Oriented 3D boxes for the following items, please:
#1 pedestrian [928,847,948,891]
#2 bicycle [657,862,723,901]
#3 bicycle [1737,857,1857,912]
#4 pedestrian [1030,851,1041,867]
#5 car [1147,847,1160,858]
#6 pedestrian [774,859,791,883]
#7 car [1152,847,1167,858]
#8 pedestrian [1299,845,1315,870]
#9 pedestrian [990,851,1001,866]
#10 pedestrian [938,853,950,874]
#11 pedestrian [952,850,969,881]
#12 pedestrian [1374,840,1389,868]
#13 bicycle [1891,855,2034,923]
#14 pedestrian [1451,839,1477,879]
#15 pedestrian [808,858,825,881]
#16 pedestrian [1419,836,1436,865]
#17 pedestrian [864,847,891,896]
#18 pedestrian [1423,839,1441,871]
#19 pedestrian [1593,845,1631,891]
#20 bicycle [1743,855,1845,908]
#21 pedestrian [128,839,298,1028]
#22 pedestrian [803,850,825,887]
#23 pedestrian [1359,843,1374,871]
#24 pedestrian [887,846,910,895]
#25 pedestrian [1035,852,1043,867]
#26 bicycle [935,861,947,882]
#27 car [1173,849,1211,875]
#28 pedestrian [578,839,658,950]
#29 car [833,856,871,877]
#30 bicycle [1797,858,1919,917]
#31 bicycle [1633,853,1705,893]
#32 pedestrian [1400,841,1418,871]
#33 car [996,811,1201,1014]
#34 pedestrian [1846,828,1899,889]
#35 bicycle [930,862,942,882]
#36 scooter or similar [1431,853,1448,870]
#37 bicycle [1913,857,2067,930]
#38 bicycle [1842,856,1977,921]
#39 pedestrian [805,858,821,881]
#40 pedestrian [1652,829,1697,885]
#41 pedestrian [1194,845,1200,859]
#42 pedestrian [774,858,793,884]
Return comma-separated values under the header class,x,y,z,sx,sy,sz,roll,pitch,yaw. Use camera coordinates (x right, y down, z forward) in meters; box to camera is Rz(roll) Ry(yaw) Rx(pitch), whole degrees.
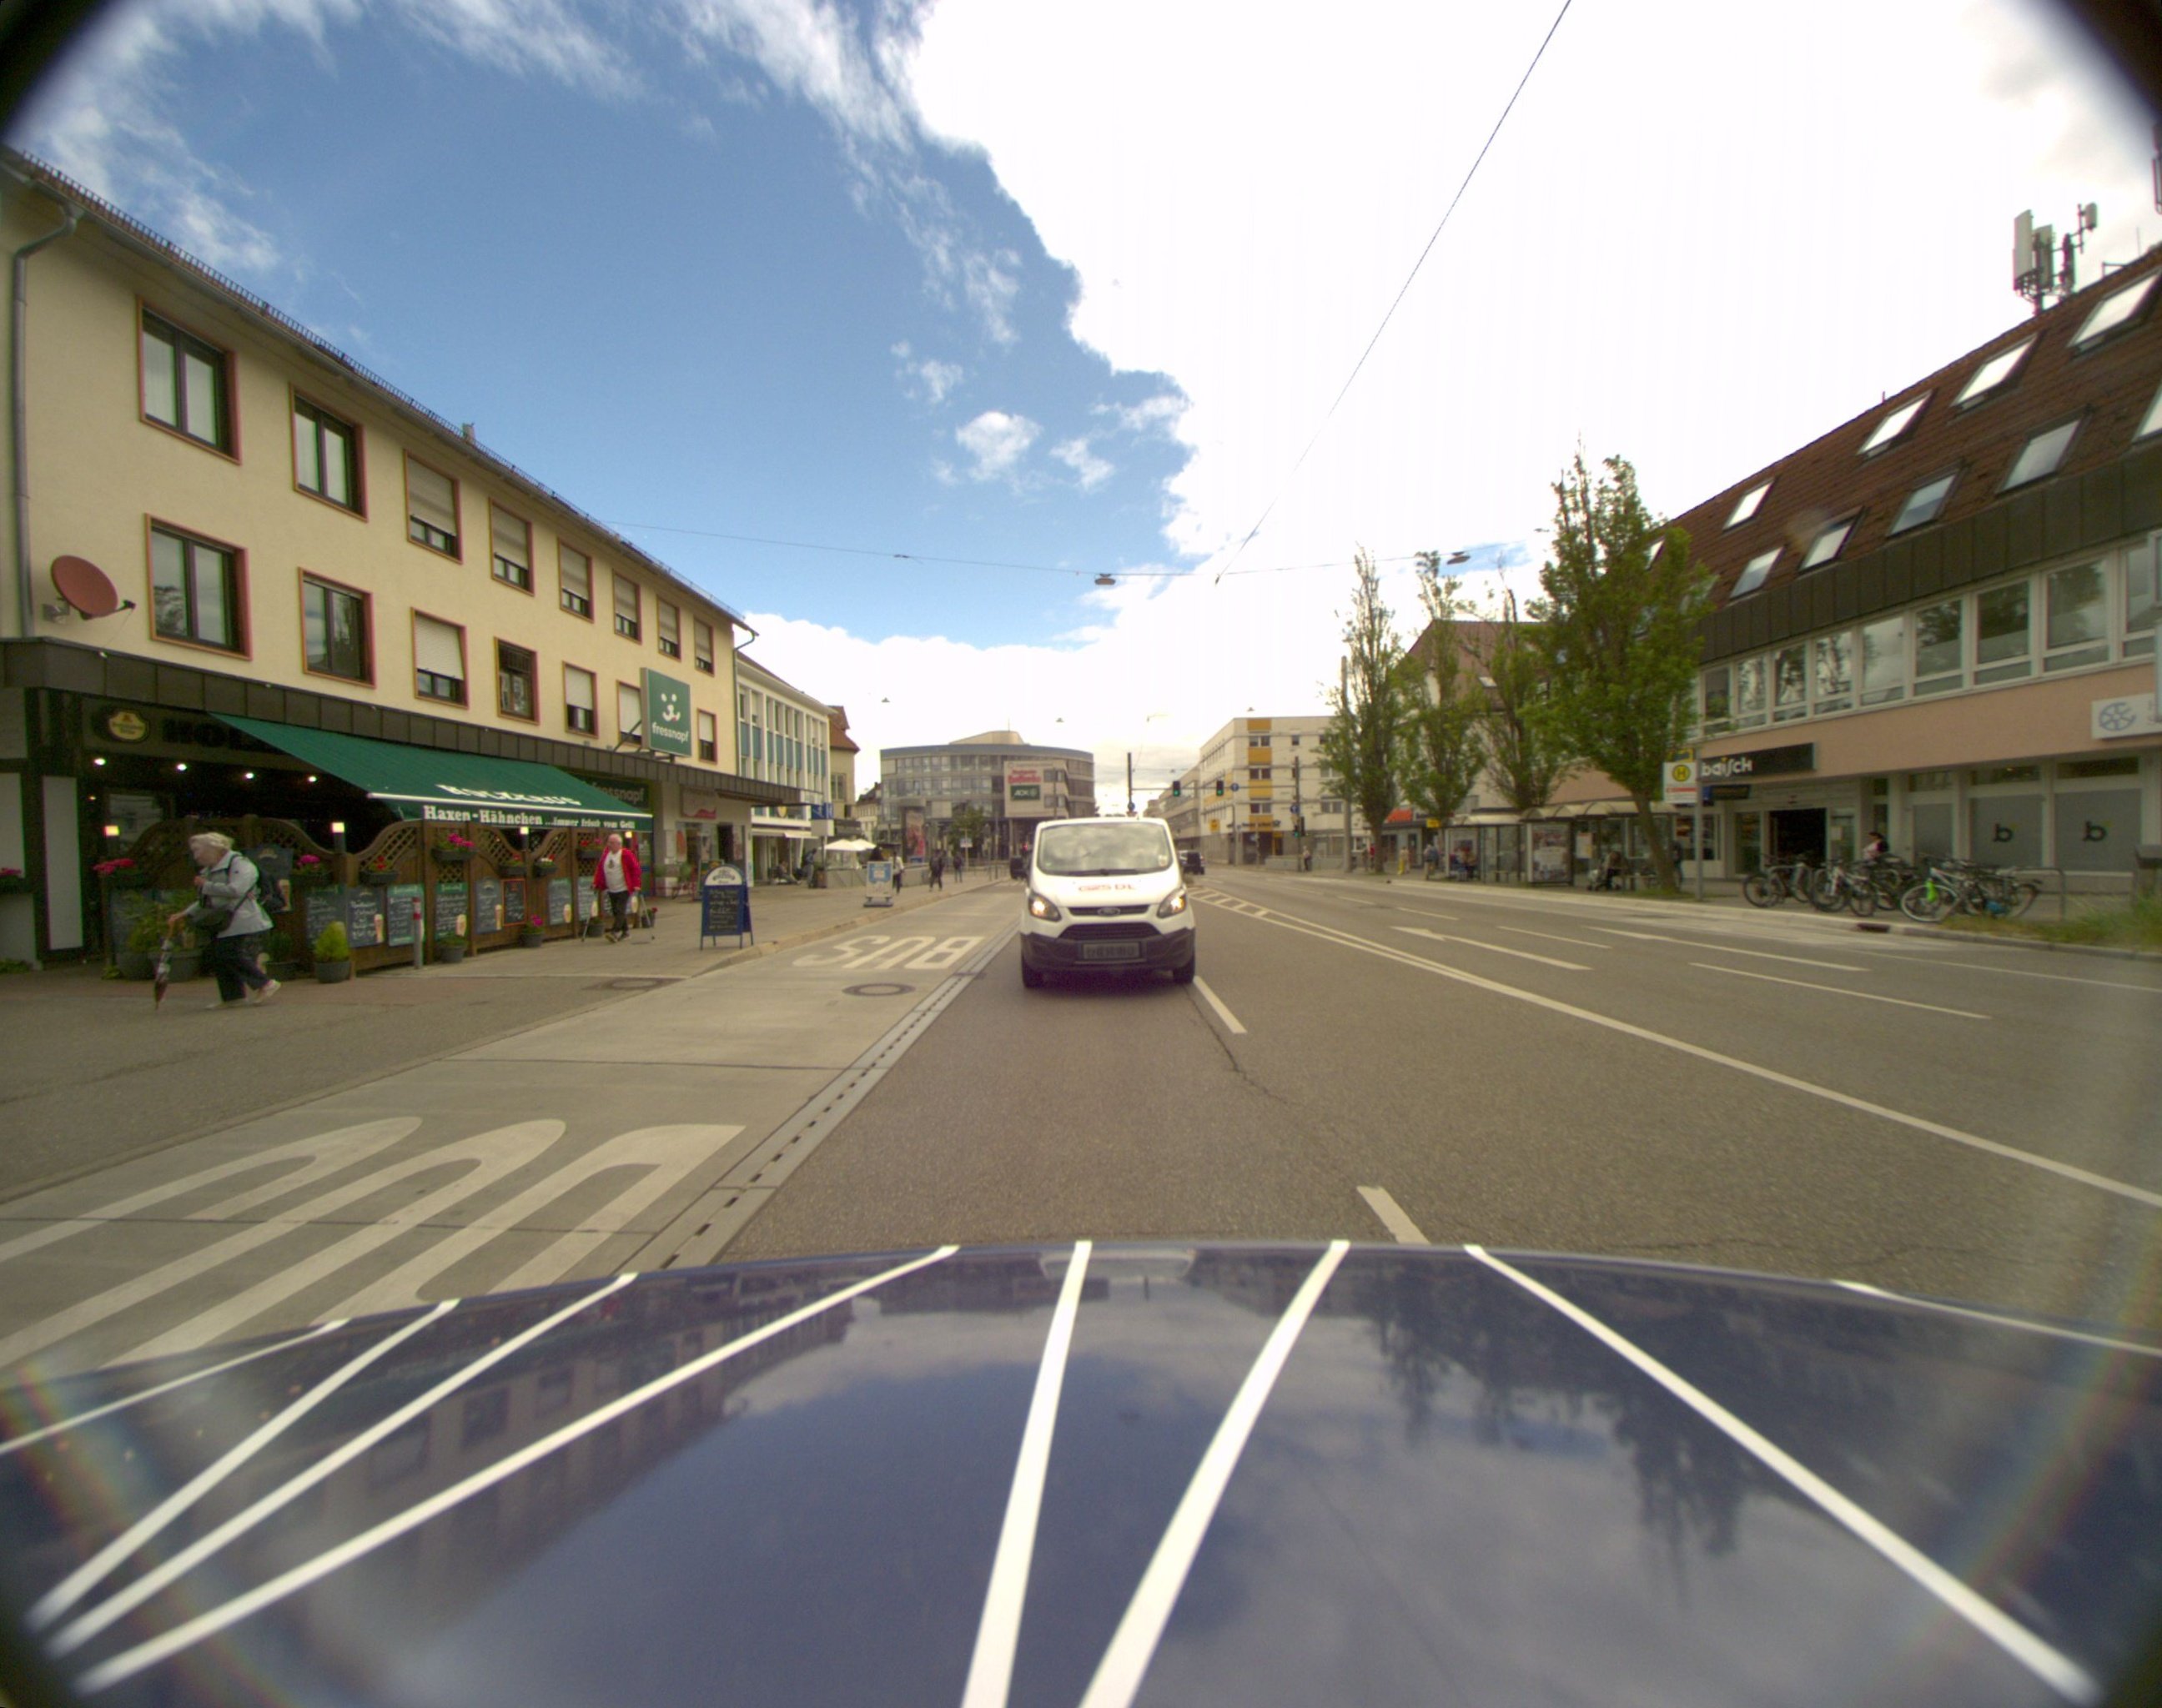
class,x,y,z,sx,sy,sz,roll,pitch,yaw
pedestrian,-5.486,0.565,29.209,0.613,1.668,0.615,-1,1,3
bicycle,-11.549,0.799,22.548,0.743,1.056,2.351,0,0,-1
bicycle,15.280,0.636,16.231,2.023,1.084,0.649,-2,1,-4
pedestrian,-4.960,0.553,83.023,0.808,1.637,0.886,-2,1,-33
car,13.632,-0.274,142.925,1.999,2.002,4.486,-2,0,-1
pedestrian,-14.996,0.847,38.163,0.614,1.213,0.588,-2,0,-1
car,14.067,-0.256,136.730,1.999,2.002,4.486,-2,0,-1
pedestrian,14.833,0.233,49.806,0.702,1.625,0.614,-5,1,-10
pedestrian,-9.340,0.498,82.665,0.847,1.625,0.644,-5,1,-32
pedestrian,-10.530,0.732,58.409,0.589,1.613,0.743,-5,1,-31
pedestrian,-6.374,0.599,40.153,0.689,1.625,0.853,-1,1,0
pedestrian,18.982,-0.008,47.970,0.587,1.702,0.615,-4,1,-1
bicycle,15.385,0.597,13.272,2.024,1.084,0.648,-2,1,-9
pedestrian,15.974,0.226,31.724,0.588,1.643,0.713,-2,0,-17
pedestrian,-14.268,0.827,40.943,0.614,1.213,0.588,-4,0,-1
pedestrian,19.909,-0.182,43.696,0.587,1.625,0.615,-4,1,-1
pedestrian,-6.860,0.585,25.635,0.720,1.625,0.615,-1,2,-2
pedestrian,19.278,0.056,41.740,0.587,1.702,0.615,-4,1,-1
pedestrian,16.301,0.425,23.352,0.713,1.356,0.588,-2,0,3
bicycle,16.093,0.607,17.146,2.025,1.084,0.648,-2,1,-13
pedestrian,-8.355,0.725,7.354,0.684,1.732,0.781,0,2,-4
pedestrian,-11.763,0.632,33.483,0.668,1.625,0.800,-2,1,-2
pedestrian,17.339,0.172,46.134,0.587,1.625,0.615,-4,1,-1
pedestrian,-6.124,0.552,25.567,0.614,1.625,0.615,-1,2,-2
pedestrian,-4.716,0.646,85.215,0.589,1.625,0.525,-5,1,-44
bicycle,-7.271,0.900,39.533,0.274,1.047,1.387,-1,0,2
car,6.786,0.437,46.887,1.879,1.497,4.343,0,1,2
pedestrian,-7.443,0.630,12.252,0.797,1.732,0.781,0,2,-5
car,-22.348,1.228,74.003,1.884,1.884,4.914,-3,1,-38
bicycle,15.506,0.659,15.173,2.024,1.084,0.648,-2,1,-9
bicycle,17.112,0.535,22.172,0.535,1.084,1.930,-2,1,-1
pedestrian,18.239,0.126,42.261,0.587,1.625,0.615,-4,1,-1
car,0.348,0.593,10.202,1.998,2.002,5.000,-2,0,4
pedestrian,20.764,0.124,19.938,0.713,1.538,0.588,-2,0,0
bicycle,-7.247,0.900,38.039,0.274,0.968,1.387,-1,0,2
scooter or similar,19.386,0.403,41.071,0.593,0.843,0.702,-2,1,0
bicycle,14.810,0.623,12.390,2.024,1.084,0.648,-2,1,-9
bicycle,15.214,0.614,13.969,2.024,1.084,0.648,-2,1,-9
pedestrian,-14.227,0.829,40.313,0.614,1.213,0.588,0,0,-1
pedestrian,19.262,0.088,24.677,0.727,1.754,0.755,-4,0,-1
pedestrian,15.205,-0.264,99.839,0.587,1.792,0.526,-4,1,1
pedestrian,-14.678,0.817,37.454,0.614,1.213,0.588,-4,0,-1
